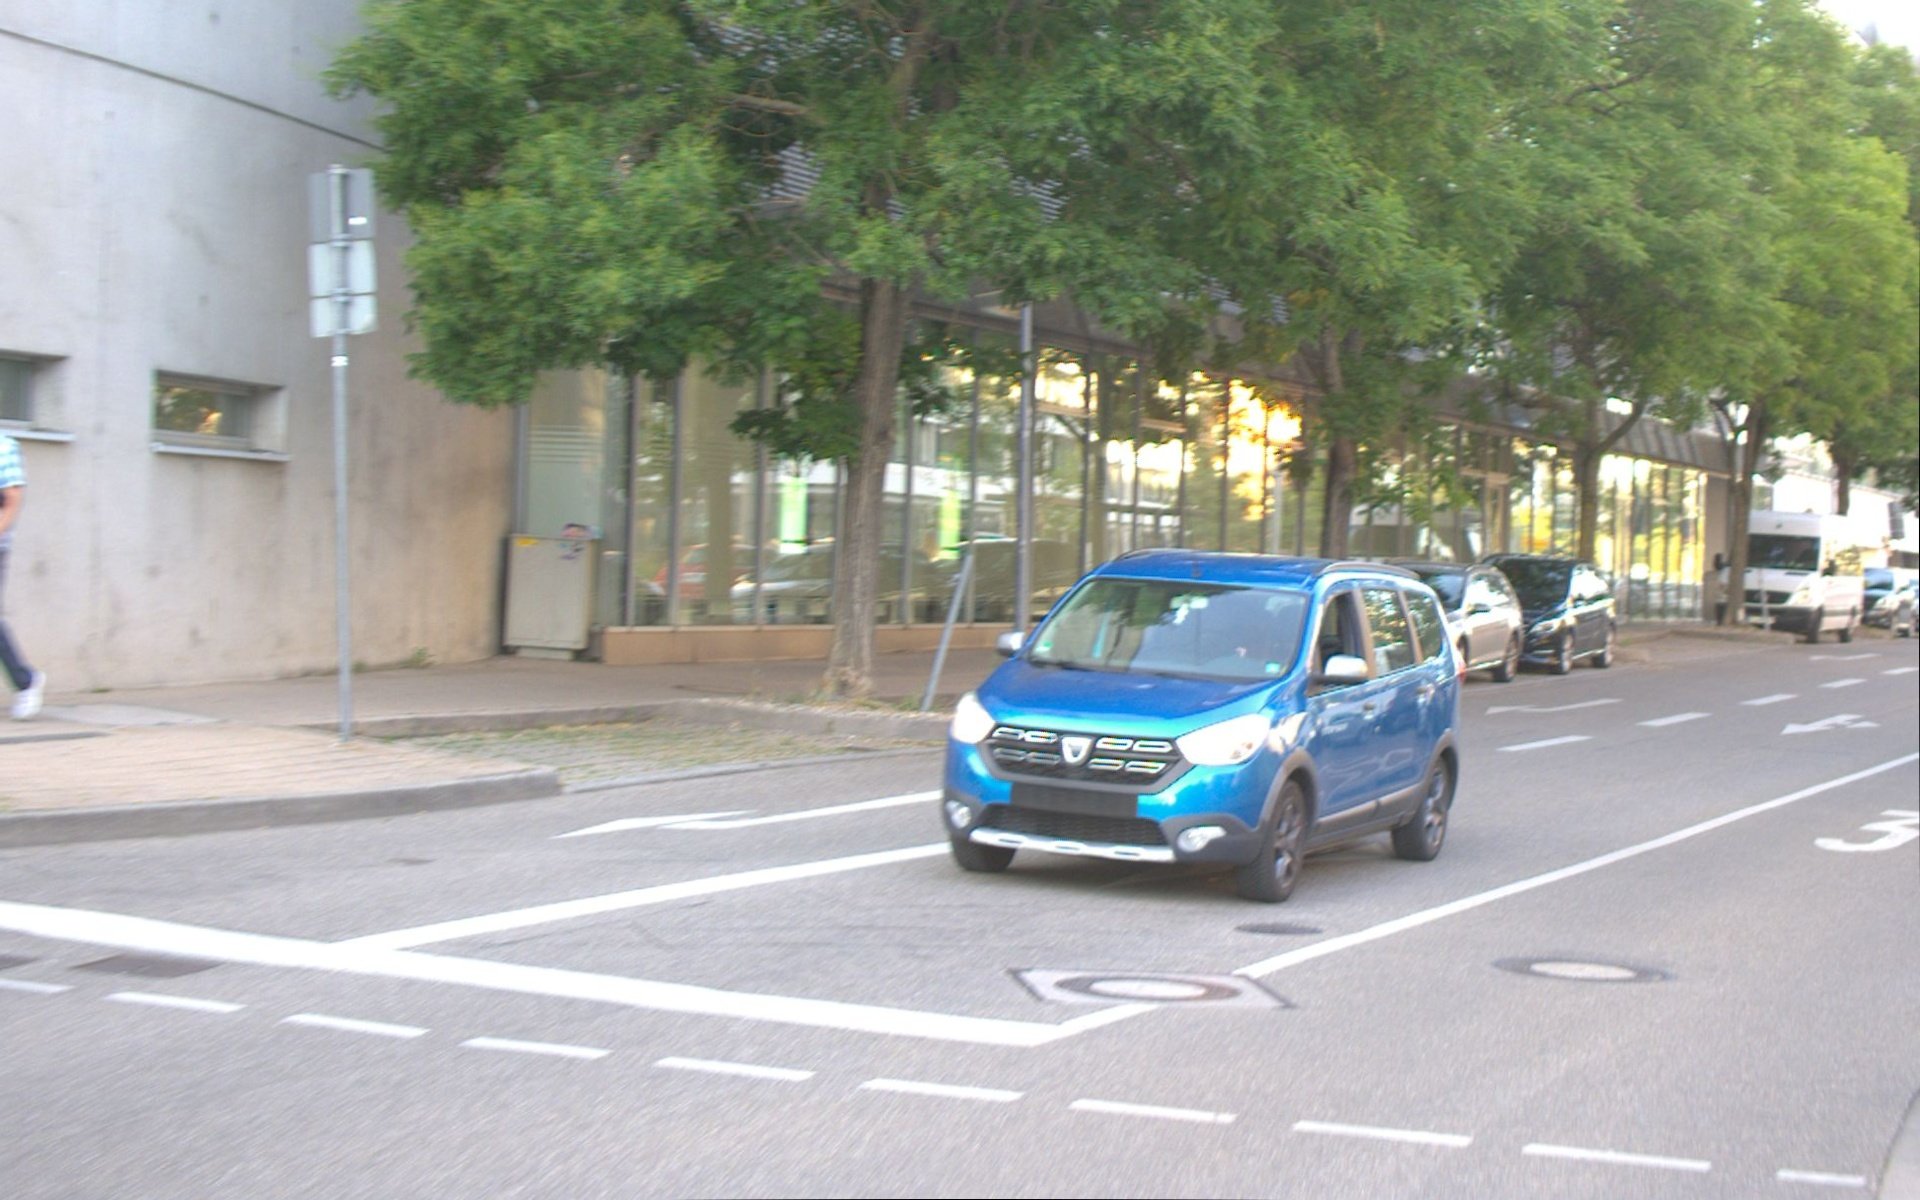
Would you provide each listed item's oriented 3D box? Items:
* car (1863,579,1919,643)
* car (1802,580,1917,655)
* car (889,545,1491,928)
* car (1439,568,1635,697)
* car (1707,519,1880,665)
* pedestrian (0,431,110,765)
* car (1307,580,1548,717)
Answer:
[{"bbox_3d":[22.903,0.253,83.105,1.716,1.447,4.395,3,1,19],"label":"car"},{"bbox_3d":[20.517,0.386,78.310,1.846,1.566,4.262,3,1,23],"label":"car"},{"bbox_3d":[1.351,0.633,18.101,1.750,1.672,4.268,3,1,23],"label":"car"},{"bbox_3d":[8.080,0.430,47.855,1.592,1.563,4.466,6,2,23],"label":"car"},{"bbox_3d":[16.617,-0.152,68.265,2.103,2.654,6.942,3,1,23],"label":"car"},{"bbox_3d":[-5.655,-0.031,20.172,0.699,1.876,0.877,9,3,18],"label":"pedestrian"},{"bbox_3d":[5.857,0.563,42.600,1.705,1.456,4.621,6,2,23],"label":"car"}]
